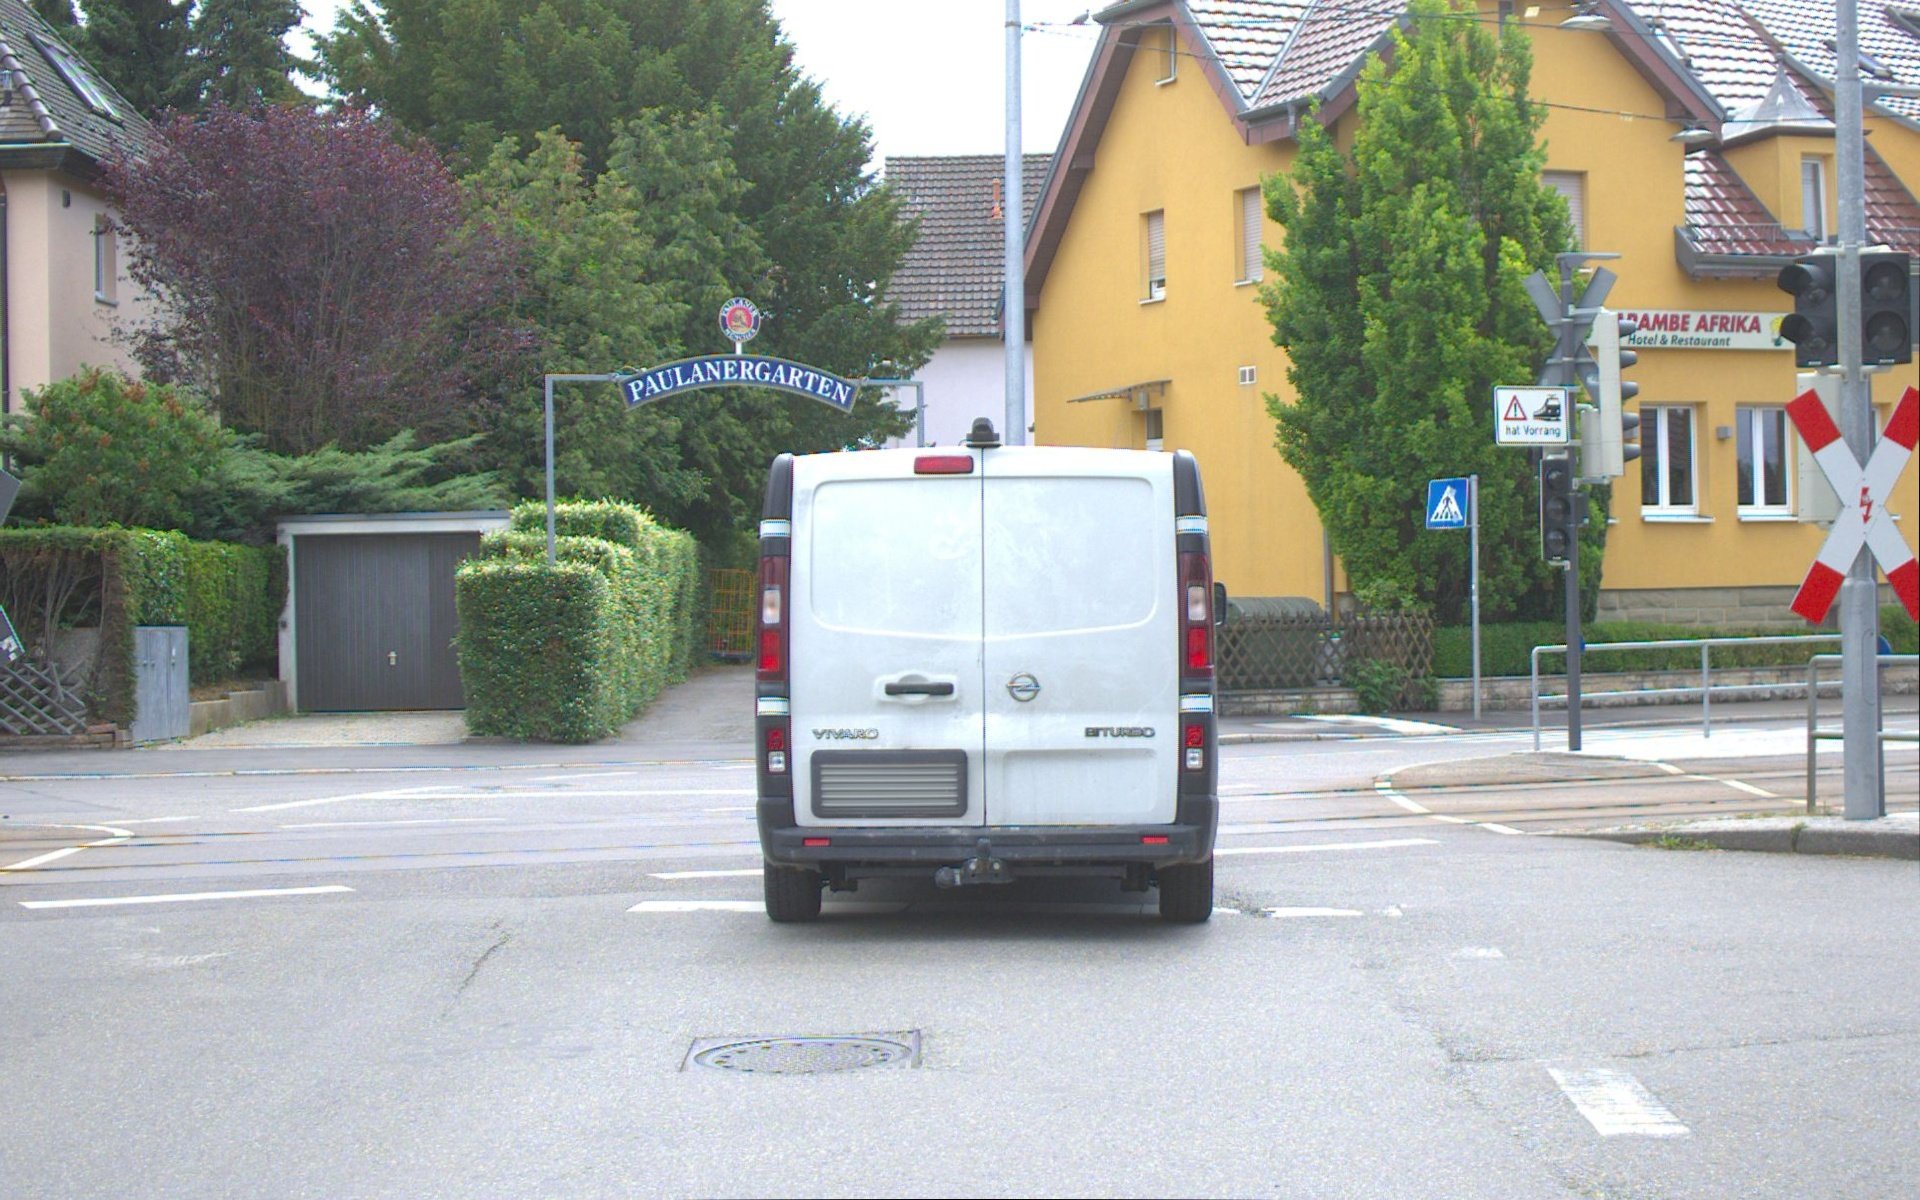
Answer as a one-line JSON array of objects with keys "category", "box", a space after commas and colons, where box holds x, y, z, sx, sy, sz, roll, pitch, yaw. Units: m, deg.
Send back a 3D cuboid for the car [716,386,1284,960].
[{"category": "car", "box": [0.019, 0.248, 15.525, 2.116, 2.127, 5.441, 0, 0, -3]}]
